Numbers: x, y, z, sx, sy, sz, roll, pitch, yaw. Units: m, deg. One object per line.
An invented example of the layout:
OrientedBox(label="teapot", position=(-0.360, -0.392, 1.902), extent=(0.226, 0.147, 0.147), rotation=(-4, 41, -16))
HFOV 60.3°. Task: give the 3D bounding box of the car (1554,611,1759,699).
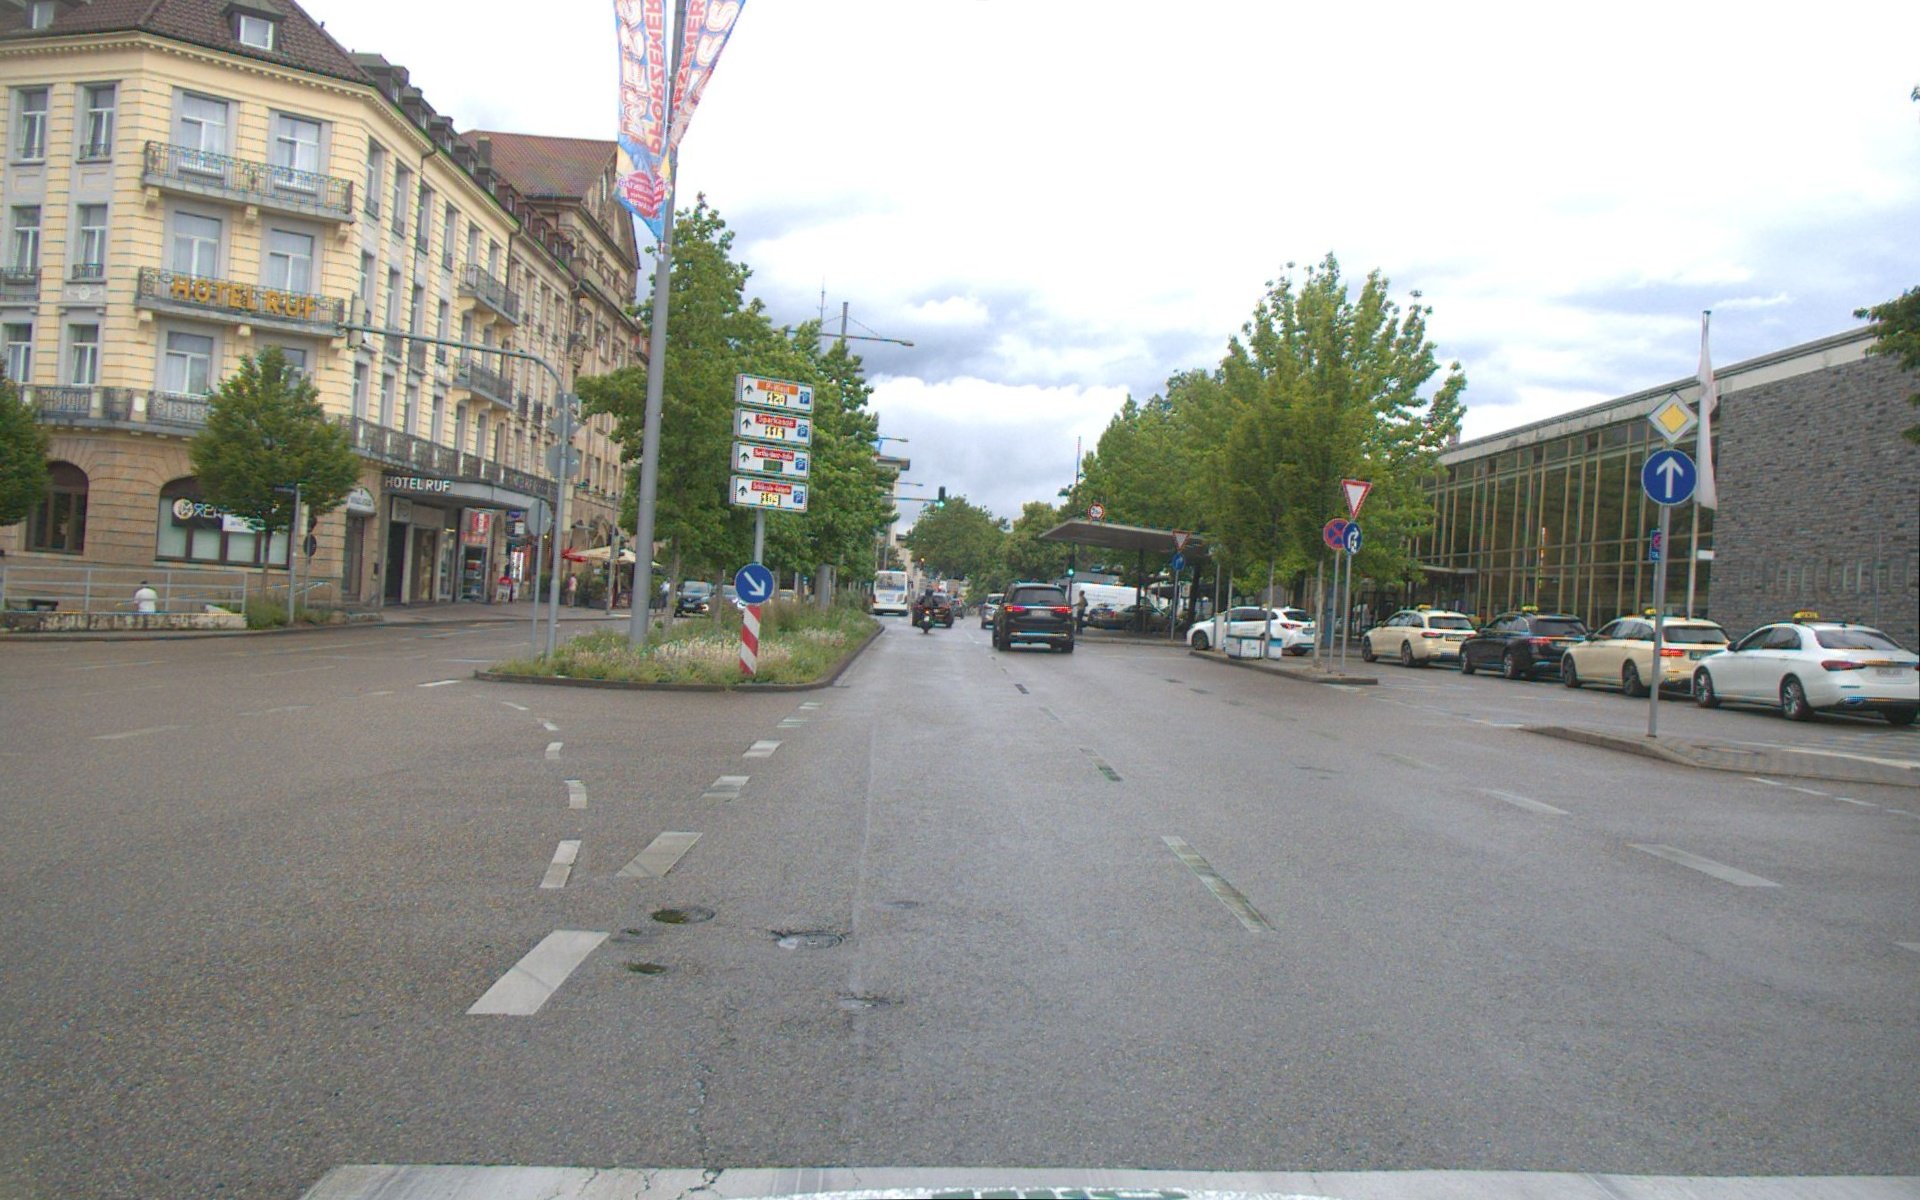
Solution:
OrientedBox(label="car", position=(13.233, 0.993, 31.770), extent=(1.809, 1.477, 4.664), rotation=(1, 0, -2))

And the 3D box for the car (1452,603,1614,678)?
OrientedBox(label="car", position=(13.043, 0.888, 37.991), extent=(1.875, 1.551, 4.740), rotation=(1, 0, -3))

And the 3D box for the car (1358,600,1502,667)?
OrientedBox(label="car", position=(12.544, 0.854, 44.468), extent=(1.956, 1.628, 4.814), rotation=(1, 0, -8))

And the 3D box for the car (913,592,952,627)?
OrientedBox(label="car", position=(-1.212, 0.403, 73.001), extent=(1.673, 1.473, 3.999), rotation=(1, 0, -1))

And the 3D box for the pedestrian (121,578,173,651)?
OrientedBox(label="pedestrian", position=(-21.813, 0.395, 44.379), extent=(0.845, 1.911, 1.022), rotation=(2, 0, -1))

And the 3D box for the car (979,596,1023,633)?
OrientedBox(label="car", position=(1.839, 0.636, 75.141), extent=(1.813, 1.594, 3.999), rotation=(1, 0, -1))

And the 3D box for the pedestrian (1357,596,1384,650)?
OrientedBox(label="pedestrian", position=(15.894, 0.878, 64.035), extent=(0.754, 2.049, 0.828), rotation=(1, 0, -3))

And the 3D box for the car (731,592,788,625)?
OrientedBox(label="car", position=(-8.846, 0.352, 73.418), extent=(1.688, 1.406, 4.861), rotation=(1, 0, 3))

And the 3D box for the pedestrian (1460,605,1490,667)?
OrientedBox(label="pedestrian", position=(14.827, 1.028, 47.607), extent=(0.553, 1.739, 0.715), rotation=(2, 0, -6))

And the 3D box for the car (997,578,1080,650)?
OrientedBox(label="car", position=(2.084, 0.348, 45.178), extent=(1.953, 1.837, 4.689), rotation=(1, 0, -1))

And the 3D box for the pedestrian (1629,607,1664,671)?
OrientedBox(label="pedestrian", position=(18.424, 1.045, 44.405), extent=(0.553, 1.675, 0.715), rotation=(1, 0, -6))

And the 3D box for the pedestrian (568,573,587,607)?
OrientedBox(label="pedestrian", position=(-17.201, -0.449, 74.339), extent=(0.656, 1.537, 0.512), rotation=(2, 0, -39))

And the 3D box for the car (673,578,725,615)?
OrientedBox(label="car", position=(-11.574, -0.159, 73.556), extent=(1.735, 1.557, 4.078), rotation=(1, 0, -1))

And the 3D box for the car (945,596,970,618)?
OrientedBox(label="car", position=(-0.222, 0.463, 116.897), extent=(1.673, 1.500, 3.999), rotation=(1, 0, -1))

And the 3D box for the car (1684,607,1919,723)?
OrientedBox(label="car", position=(13.362, 0.950, 26.053), extent=(1.739, 1.617, 4.614), rotation=(1, 0, -2))

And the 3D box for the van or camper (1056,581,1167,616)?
OrientedBox(label="van or camper", position=(9.457, -0.079, 102.992), extent=(6.675, 2.049, 2.364), rotation=(1, -1, -27))

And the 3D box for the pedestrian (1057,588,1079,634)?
OrientedBox(label="pedestrian", position=(4.349, 0.447, 66.795), extent=(0.705, 1.822, 0.663), rotation=(2, 0, -12))

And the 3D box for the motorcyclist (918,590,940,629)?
OrientedBox(label="motorcyclist", position=(-1.089, 0.348, 58.651), extent=(0.749, 1.355, 0.866), rotation=(2, 0, -1))

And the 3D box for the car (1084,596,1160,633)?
OrientedBox(label="car", position=(9.468, 0.853, 96.771), extent=(3.929, 2.049, 1.988), rotation=(2, 0, -21))

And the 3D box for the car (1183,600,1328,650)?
OrientedBox(label="car", position=(9.101, 0.744, 51.194), extent=(1.764, 1.409, 4.303), rotation=(1, 0, -41))

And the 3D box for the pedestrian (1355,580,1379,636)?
OrientedBox(label="pedestrian", position=(18.185, 0.355, 73.859), extent=(0.825, 2.453, 0.862), rotation=(1, 0, 1))

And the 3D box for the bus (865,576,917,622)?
OrientedBox(label="bus", position=(-5.394, -0.096, 127.098), extent=(3.685, 3.265, 15.516), rotation=(1, 0, -3))

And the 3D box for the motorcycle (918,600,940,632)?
OrientedBox(label="motorcycle", position=(-1.090, 0.558, 58.611), extent=(0.750, 1.095, 2.175), rotation=(2, 0, -1))

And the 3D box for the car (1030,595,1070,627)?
OrientedBox(label="car", position=(4.621, 0.548, 85.452), extent=(1.779, 1.557, 3.999), rotation=(1, 0, -1))

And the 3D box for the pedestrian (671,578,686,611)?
OrientedBox(label="pedestrian", position=(-14.670, -0.287, 86.247), extent=(0.661, 1.731, 0.633), rotation=(1, 0, -1))

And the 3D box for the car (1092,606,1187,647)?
OrientedBox(label="car", position=(8.941, 1.309, 82.386), extent=(4.273, 1.890, 1.988), rotation=(2, 0, -21))
